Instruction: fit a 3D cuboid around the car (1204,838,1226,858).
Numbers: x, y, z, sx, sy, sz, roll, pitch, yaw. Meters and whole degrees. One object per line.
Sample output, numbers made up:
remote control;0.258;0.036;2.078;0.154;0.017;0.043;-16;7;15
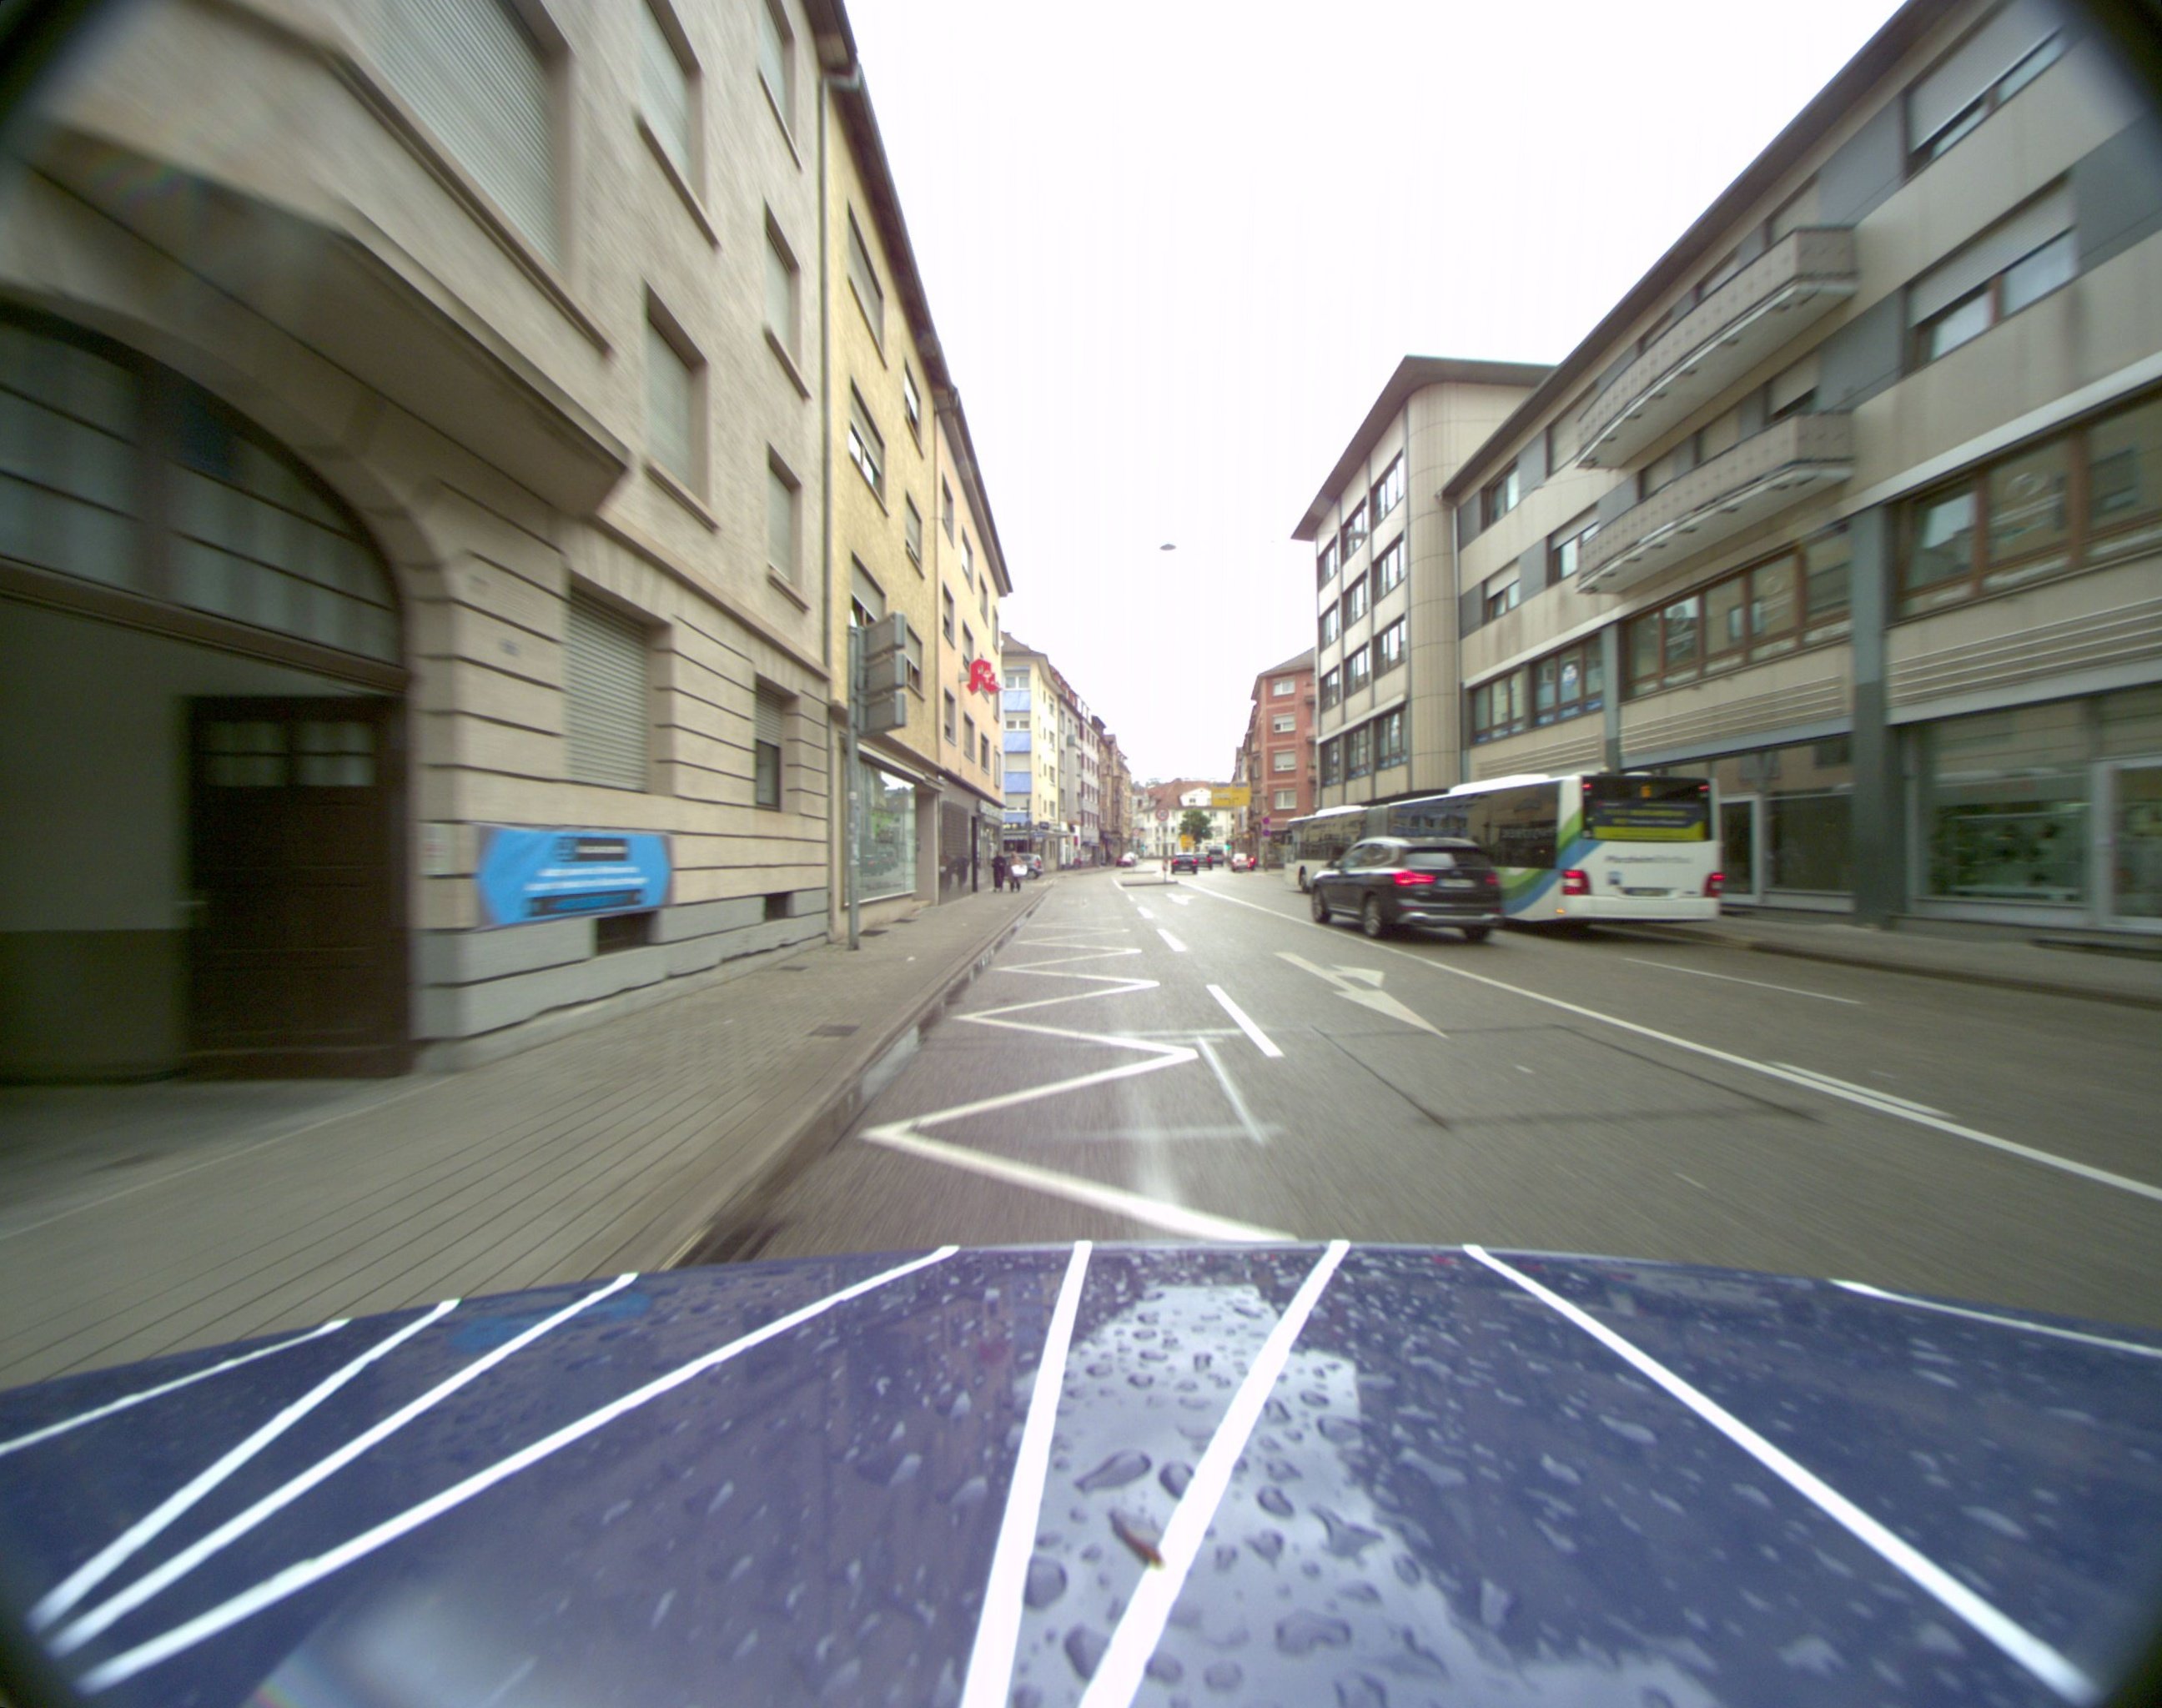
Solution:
car;16.706;-0.742;94.711;2.091;2.421;6.354;0;1;4

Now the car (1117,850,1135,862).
car;5.331;0.230;89.877;1.747;1.361;4.317;0;0;9

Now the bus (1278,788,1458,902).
bus;9.161;-0.322;25.657;2.765;3.170;8.910;0;1;1

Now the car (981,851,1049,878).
car;-3.998;0.648;46.521;3.833;1.565;1.937;0;1;6

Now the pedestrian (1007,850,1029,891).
pedestrian;-2.417;0.621;29.145;0.780;1.551;0.782;0;2;-1

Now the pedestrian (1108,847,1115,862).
pedestrian;3.641;0.052;90.237;0.745;1.769;0.796;0;2;7

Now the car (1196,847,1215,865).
car;11.703;0.157;71.260;1.746;1.652;4.421;0;0;10

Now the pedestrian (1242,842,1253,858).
pedestrian;18.146;-0.421;82.865;0.845;1.669;0.853;-3;2;-3

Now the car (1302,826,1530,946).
car;5.570;0.426;13.413;1.936;1.747;4.571;0;1;-1

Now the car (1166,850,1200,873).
car;6.883;0.479;51.552;1.713;1.443;4.085;0;1;0

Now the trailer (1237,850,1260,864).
trailer;12.809;0.221;58.281;1.590;0.944;3.058;-1;1;11

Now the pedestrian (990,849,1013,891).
pedestrian;-3.029;0.602;29.076;0.770;1.551;0.876;0;2;-1

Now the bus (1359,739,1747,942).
bus;9.066;-0.292;16.540;2.732;3.170;9.291;0;1;1

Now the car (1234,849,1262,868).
car;13.620;0.336;62.186;1.853;1.389;4.795;-3;0;9

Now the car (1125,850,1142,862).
car;6.757;0.238;97.108;1.650;1.486;4.450;0;1;10
